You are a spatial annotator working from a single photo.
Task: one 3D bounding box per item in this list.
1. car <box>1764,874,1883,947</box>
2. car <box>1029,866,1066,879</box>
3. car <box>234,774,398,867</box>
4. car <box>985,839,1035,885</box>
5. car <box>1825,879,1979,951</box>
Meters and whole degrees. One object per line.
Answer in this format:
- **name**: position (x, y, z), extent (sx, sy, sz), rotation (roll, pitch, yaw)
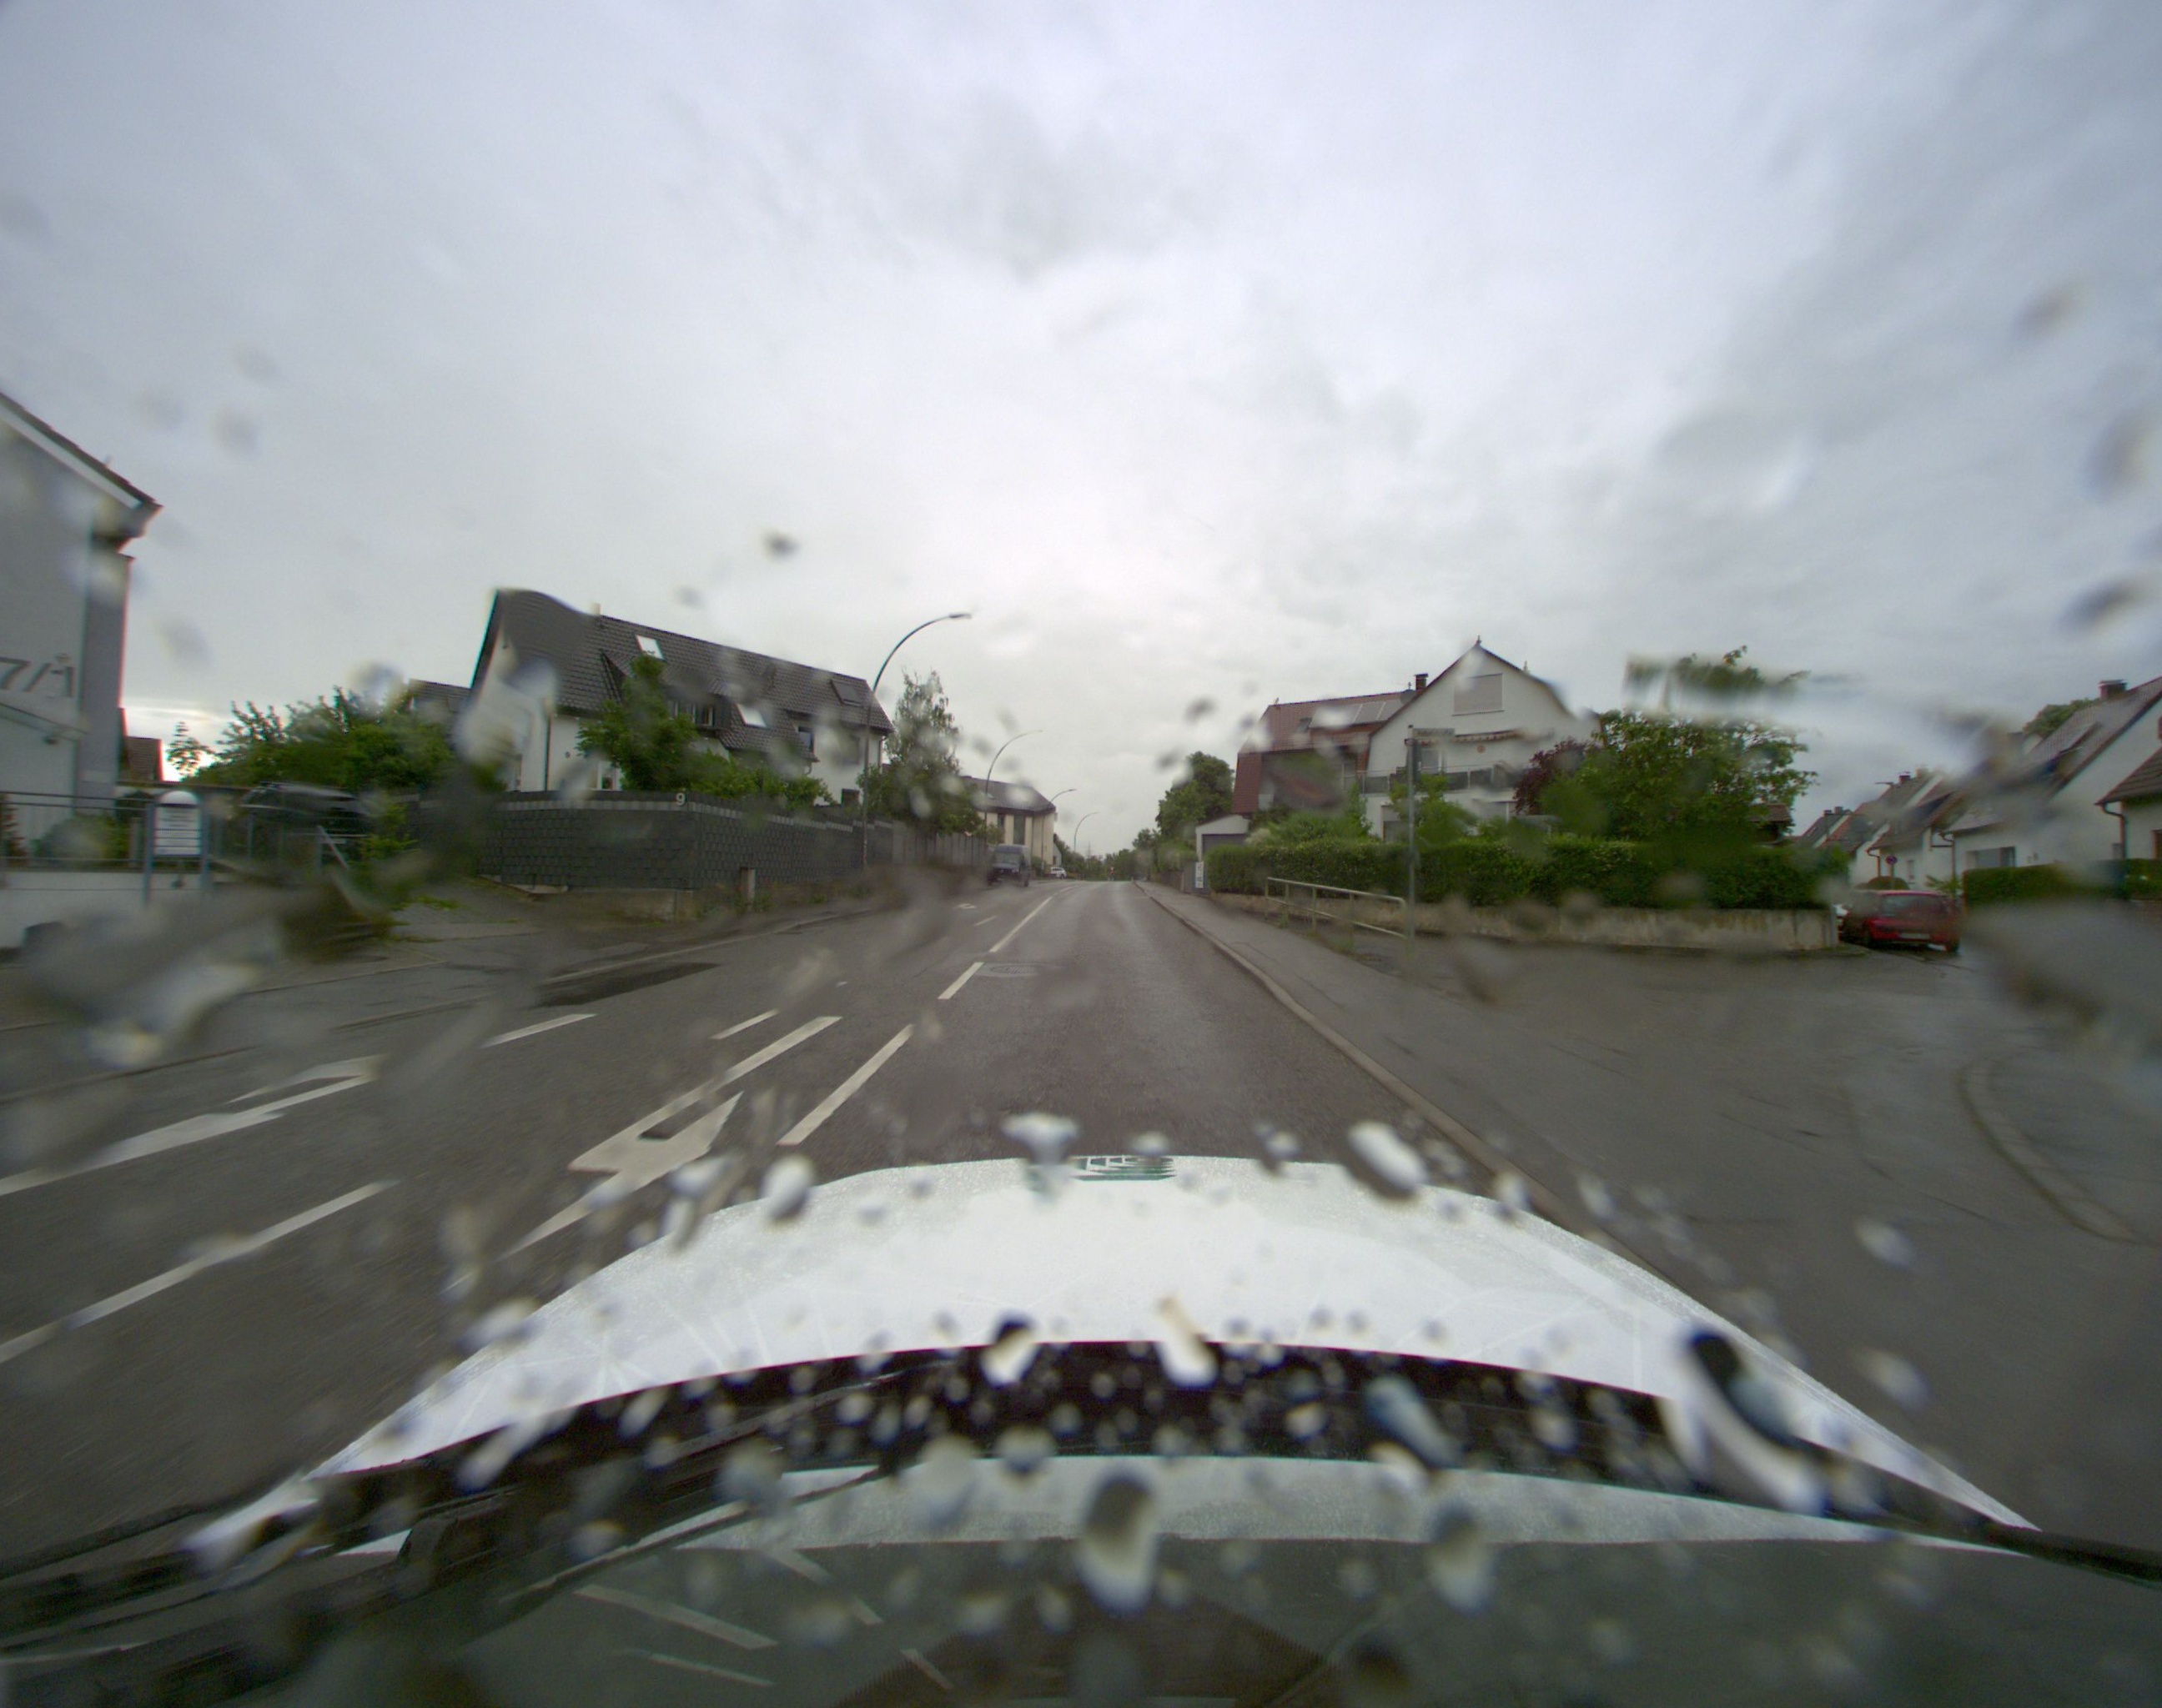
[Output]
- **car**: position (23.423, 1.688, 25.873), extent (1.974, 2.013, 4.025), rotation (0, 0, 30)
- **car**: position (-4.224, 2.386, 103.662), extent (1.883, 1.477, 4.912), rotation (1, -1, 38)
- **car**: position (-18.482, -0.820, 19.635), extent (3.950, 1.781, 2.012), rotation (7, 2, 35)
- **car**: position (-4.420, 0.538, 51.551), extent (2.085, 2.649, 5.925), rotation (2, -1, 4)
- **car**: position (21.070, 1.472, 21.114), extent (2.002, 1.537, 4.245), rotation (0, 0, 34)
